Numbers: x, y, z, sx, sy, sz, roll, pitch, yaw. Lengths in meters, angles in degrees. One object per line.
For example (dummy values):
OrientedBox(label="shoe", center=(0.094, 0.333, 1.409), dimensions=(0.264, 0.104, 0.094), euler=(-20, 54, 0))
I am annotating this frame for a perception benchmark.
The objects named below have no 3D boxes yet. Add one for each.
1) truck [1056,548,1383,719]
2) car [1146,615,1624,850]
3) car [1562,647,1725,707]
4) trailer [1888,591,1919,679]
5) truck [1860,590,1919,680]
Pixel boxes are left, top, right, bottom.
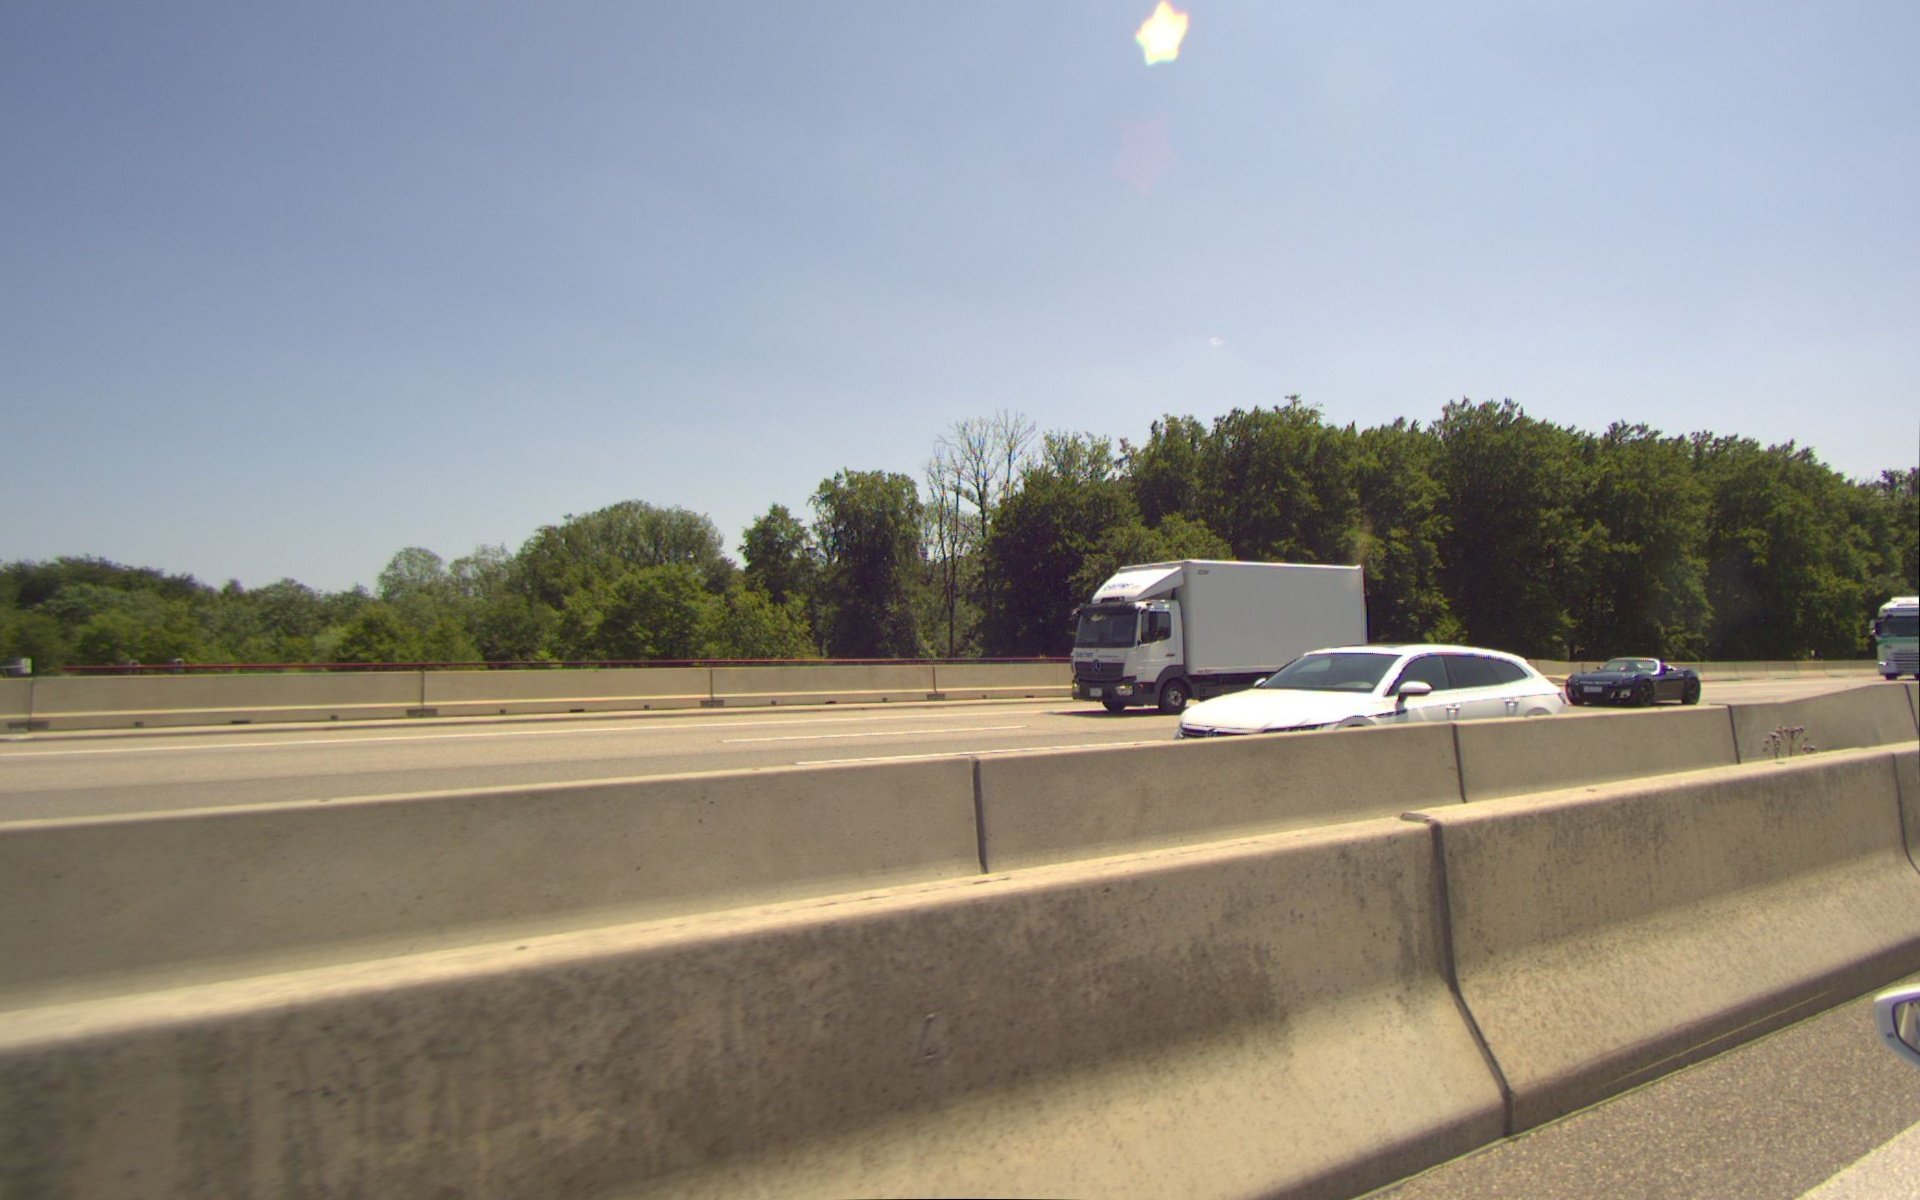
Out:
OrientedBox(label="truck", center=(6.528, 0.872, 24.628), dimensions=(8.479, 3.617, 2.527), euler=(1, -4, -31))
OrientedBox(label="car", center=(4.496, 1.129, 10.361), dimensions=(5.146, 1.905, 1.766), euler=(0, 0, -29))
OrientedBox(label="car", center=(17.853, 1.950, 26.194), dimensions=(4.479, 1.394, 1.789), euler=(1, -2, -31))
OrientedBox(label="trailer", center=(53.049, 1.862, 52.494), dimensions=(14.195, 4.279, 2.630), euler=(1, -4, -31))
OrientedBox(label="truck", center=(47.600, 1.748, 49.340), dimensions=(7.786, 4.152, 2.703), euler=(1, -4, -31))
